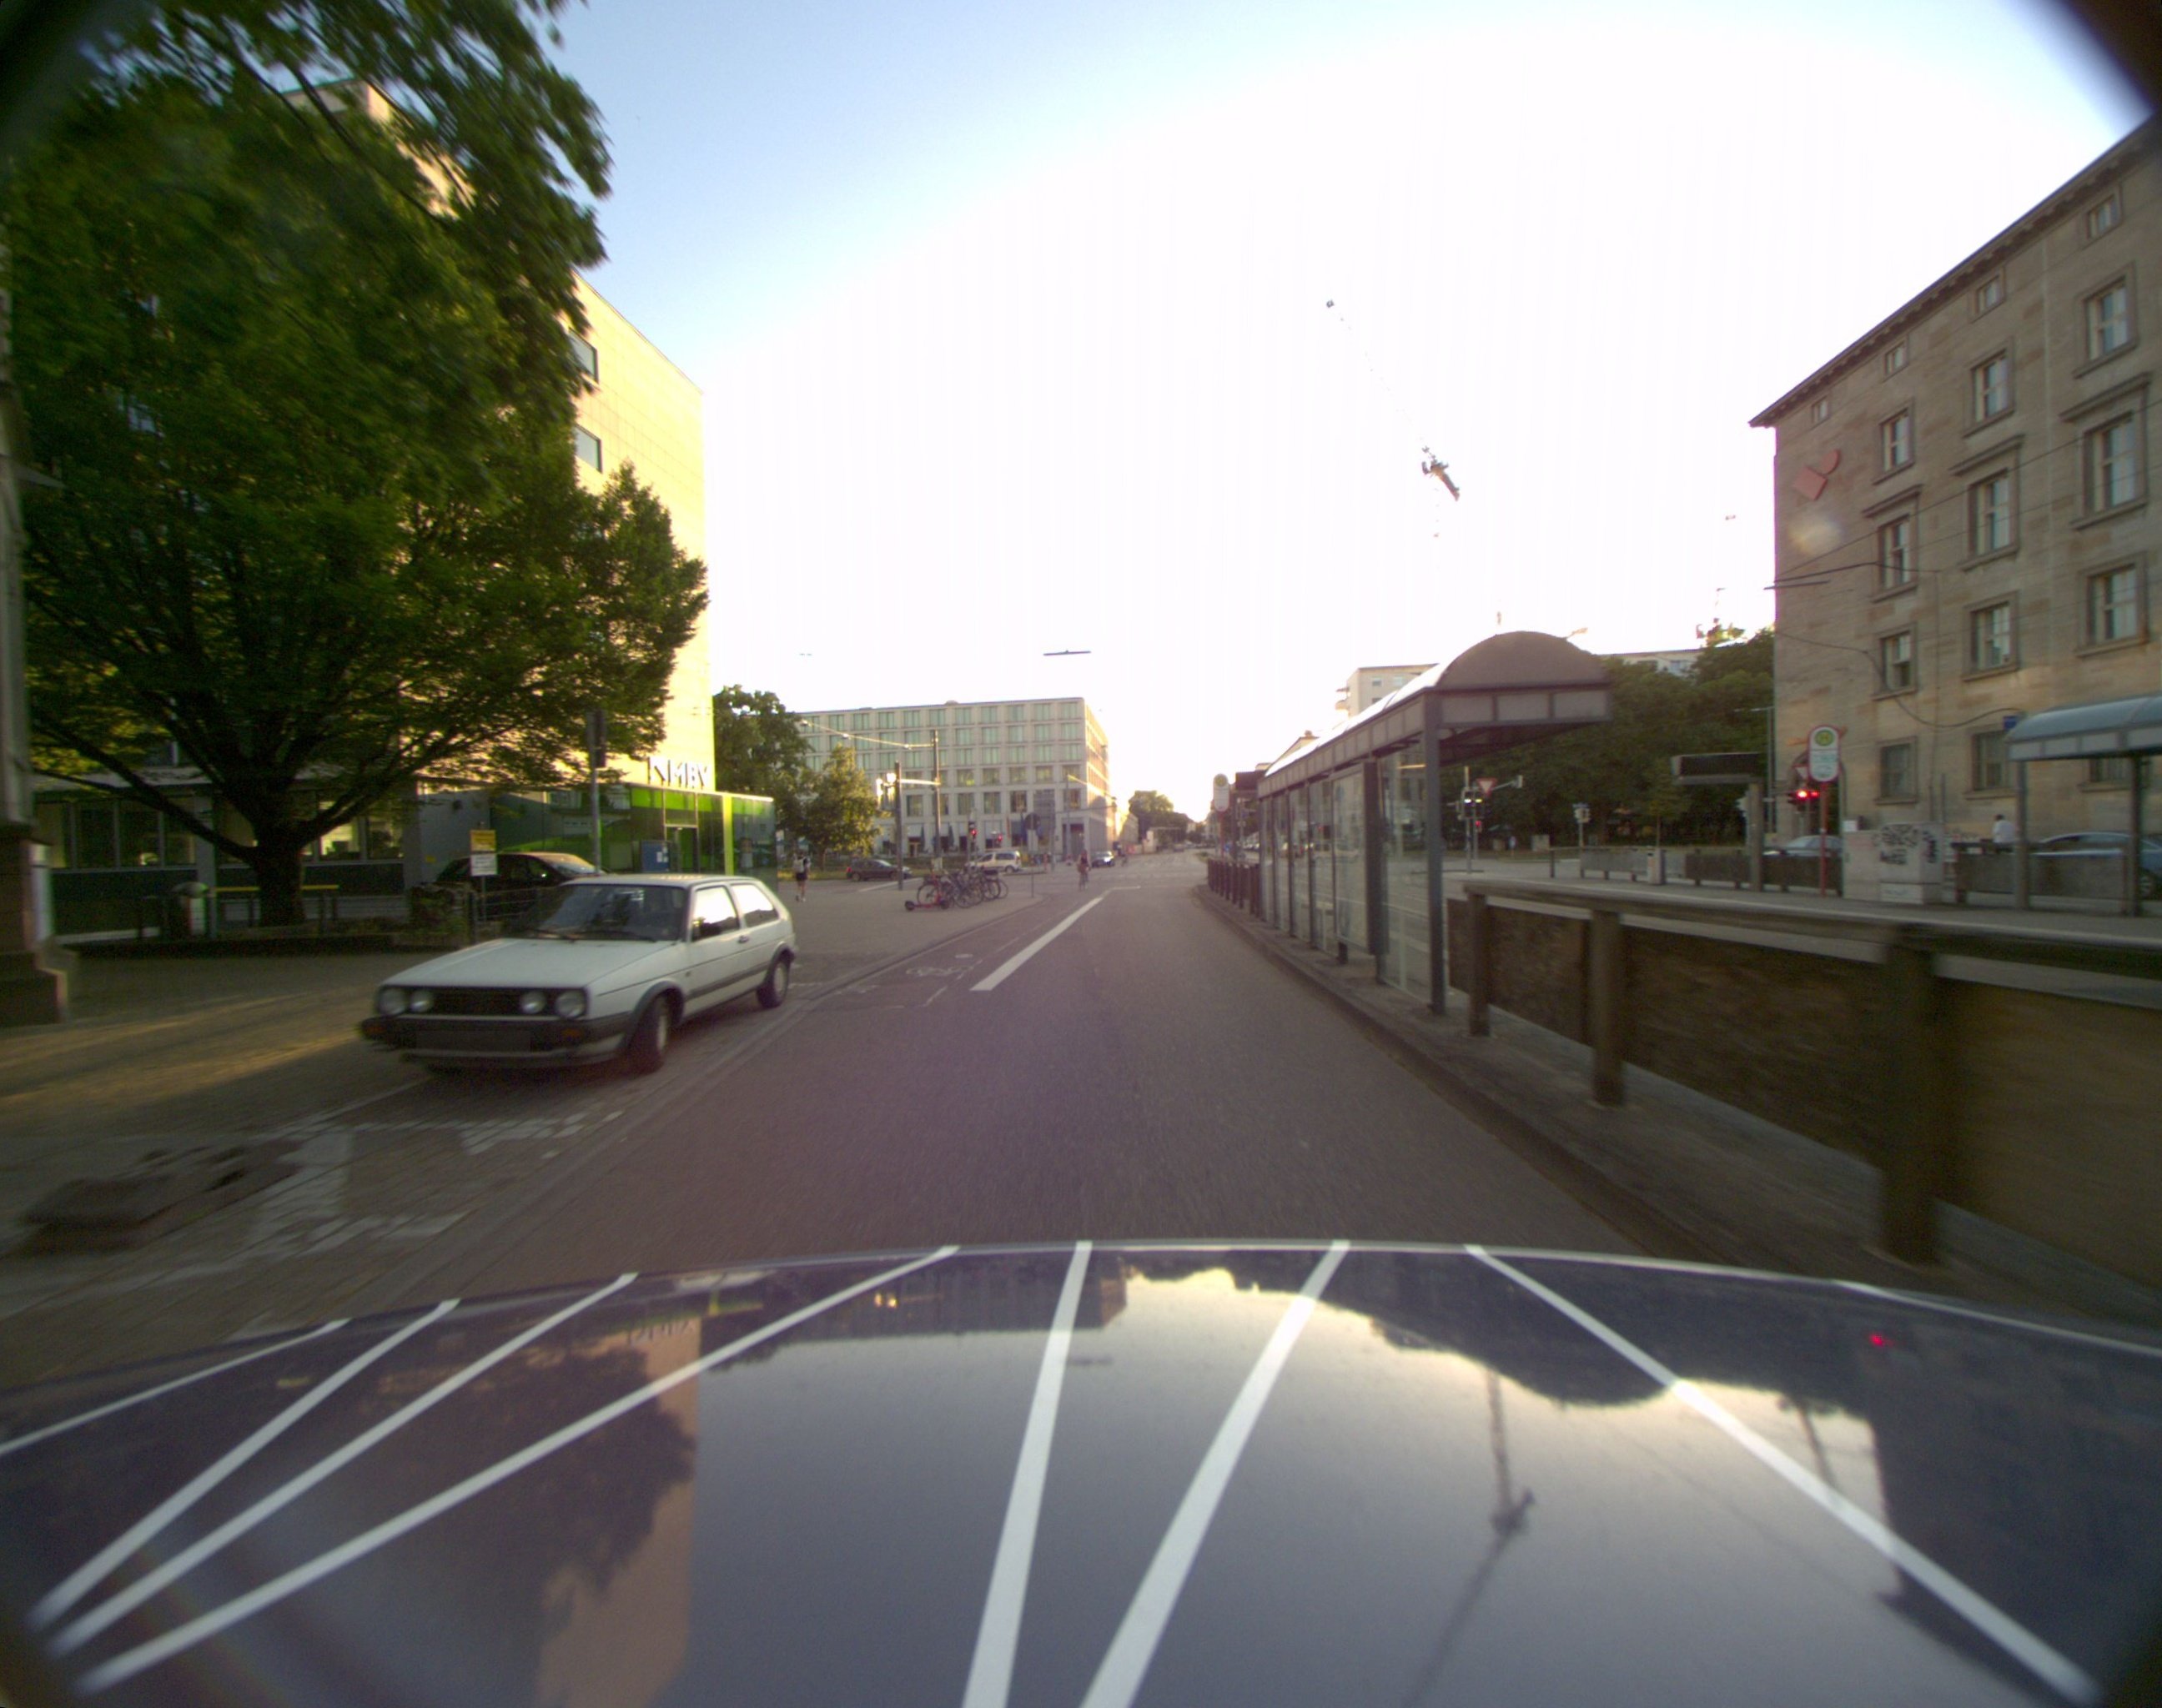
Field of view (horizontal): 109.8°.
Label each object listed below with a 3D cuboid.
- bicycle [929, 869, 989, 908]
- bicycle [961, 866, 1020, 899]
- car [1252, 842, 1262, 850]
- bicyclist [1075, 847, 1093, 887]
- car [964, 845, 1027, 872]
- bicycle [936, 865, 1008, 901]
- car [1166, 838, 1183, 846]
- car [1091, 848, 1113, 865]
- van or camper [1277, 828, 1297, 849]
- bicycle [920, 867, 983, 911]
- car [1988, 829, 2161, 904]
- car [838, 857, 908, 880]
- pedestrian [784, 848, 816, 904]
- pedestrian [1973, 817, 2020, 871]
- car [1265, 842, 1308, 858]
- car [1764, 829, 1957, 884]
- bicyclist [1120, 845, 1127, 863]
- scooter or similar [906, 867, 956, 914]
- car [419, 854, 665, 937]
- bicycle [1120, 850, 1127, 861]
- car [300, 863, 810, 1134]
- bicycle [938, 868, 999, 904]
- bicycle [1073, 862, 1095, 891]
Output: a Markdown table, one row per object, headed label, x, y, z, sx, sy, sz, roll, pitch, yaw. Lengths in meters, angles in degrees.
| label | x | y | z | sx | sy | sz | roll | pitch | yaw |
| --- | --- | --- | --- | --- | --- | --- | --- | --- | --- |
| bicycle | -3.595 | 1.024 | 22.487 | 1.554 | 1.068 | 0.744 | -2 | 1 | 9 |
| bicycle | -3.088 | 0.965 | 25.975 | 1.861 | 1.068 | 0.745 | -1 | 1 | 25 |
| car | 34.630 | -1.598 | 149.873 | 1.721 | 1.422 | 3.812 | -2 | 1 | 11 |
| bicyclist | 0.116 | 0.534 | 31.119 | 0.609 | 1.626 | 0.597 | -2 | 1 | 9 |
| car | -6.517 | 0.331 | 58.034 | 4.459 | 1.900 | 1.806 | -2 | 1 | 6 |
| bicycle | -3.582 | 0.957 | 25.026 | 2.234 | 1.125 | 0.744 | -1 | 1 | 9 |
| car | 21.725 | -2.840 | 177.140 | 3.804 | 1.639 | 1.864 | -2 | 1 | 7 |
| car | 2.049 | 0.245 | 74.287 | 1.815 | 1.514 | 4.811 | -3 | 0 | 4 |
| van or camper | 28.315 | -2.121 | 104.323 | 2.109 | 2.666 | 4.713 | -2 | 1 | 9 |
| bicycle | -3.633 | 0.976 | 21.395 | 1.529 | 1.156 | 0.744 | -2 | 1 | 9 |
| car | 21.822 | 0.217 | 15.852 | 1.646 | 1.419 | 3.707 | -2 | 1 | 7 |
| car | -13.977 | 0.953 | 51.225 | 4.167 | 1.412 | 1.699 | -1 | 1 | 9 |
| pedestrian | -9.091 | 0.691 | 24.584 | 0.708 | 1.758 | 0.988 | -2 | 1 | -8 |
| pedestrian | 29.277 | -0.320 | 24.310 | 0.697 | 1.700 | 0.646 | -2 | 1 | 10 |
| car | 22.023 | -0.422 | 81.580 | 1.890 | 1.654 | 4.335 | -2 | 1 | -32 |
| car | 22.409 | 0.047 | 22.109 | 1.646 | 1.419 | 4.234 | -2 | 1 | 7 |
| bicyclist | 4.020 | 0.011 | 71.596 | 0.540 | 1.626 | 0.597 | -1 | 1 | 8 |
| scooter or similar | -4.026 | 0.967 | 20.426 | 1.202 | 1.218 | 0.591 | 0 | 1 | 8 |
| car | -11.167 | 0.838 | 15.899 | 3.991 | 1.564 | 1.805 | -2 | 0 | 7 |
| bicycle | 4.010 | 0.135 | 71.462 | 0.540 | 1.045 | 1.762 | -2 | 1 | 8 |
| car | -3.928 | 0.911 | 6.643 | 1.684 | 1.544 | 3.999 | 1 | 1 | 0 |
| bicycle | -3.586 | 1.028 | 24.228 | 1.758 | 1.068 | 0.744 | -2 | 1 | 9 |
| bicycle | 0.136 | 0.899 | 31.187 | 0.609 | 1.108 | 2.087 | -2 | 1 | 8 |
